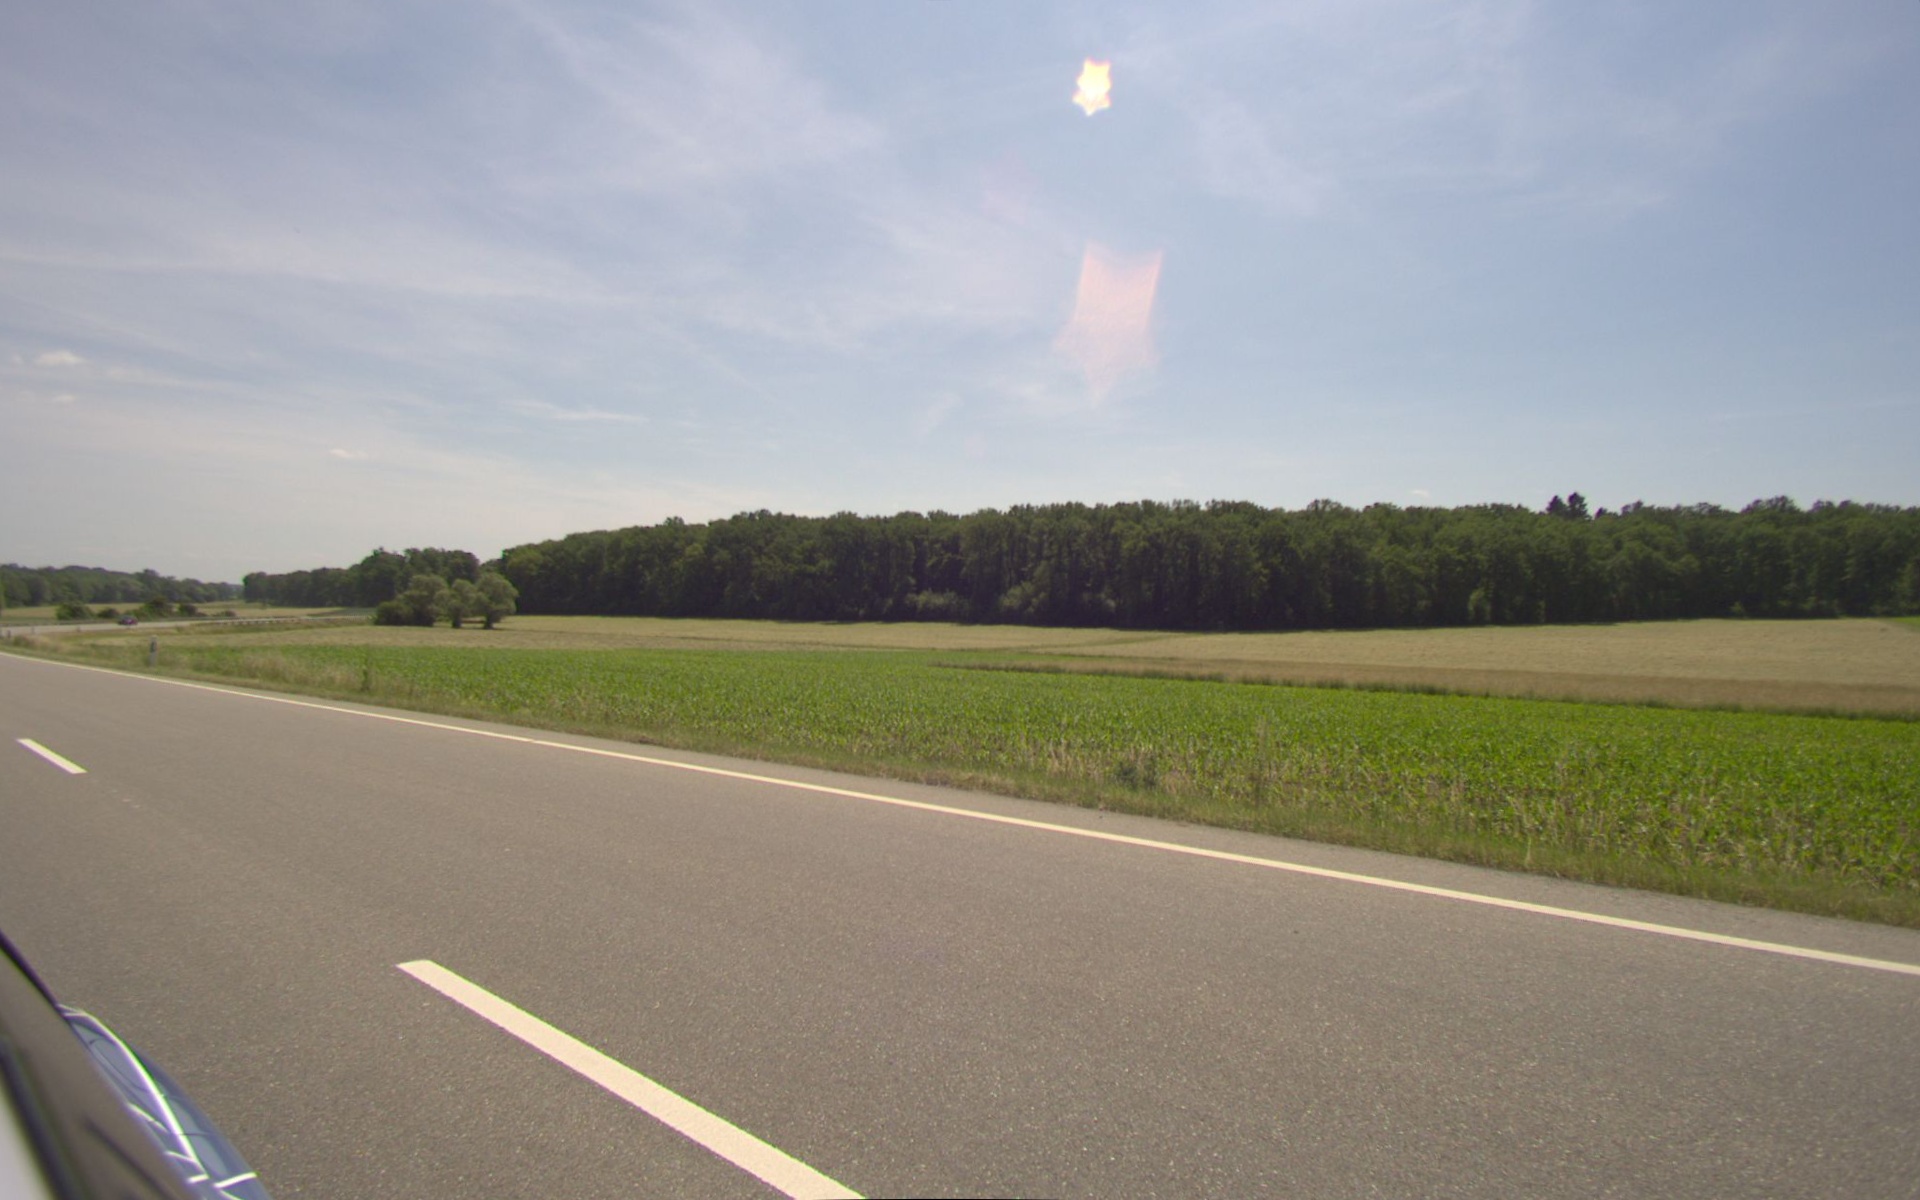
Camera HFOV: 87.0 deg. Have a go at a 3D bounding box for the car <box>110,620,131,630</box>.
[{"bbox_3d":[-145.052,4.314,174.912,1.595,1.447,3.454,2,-1,-20],"label":"car"}]
